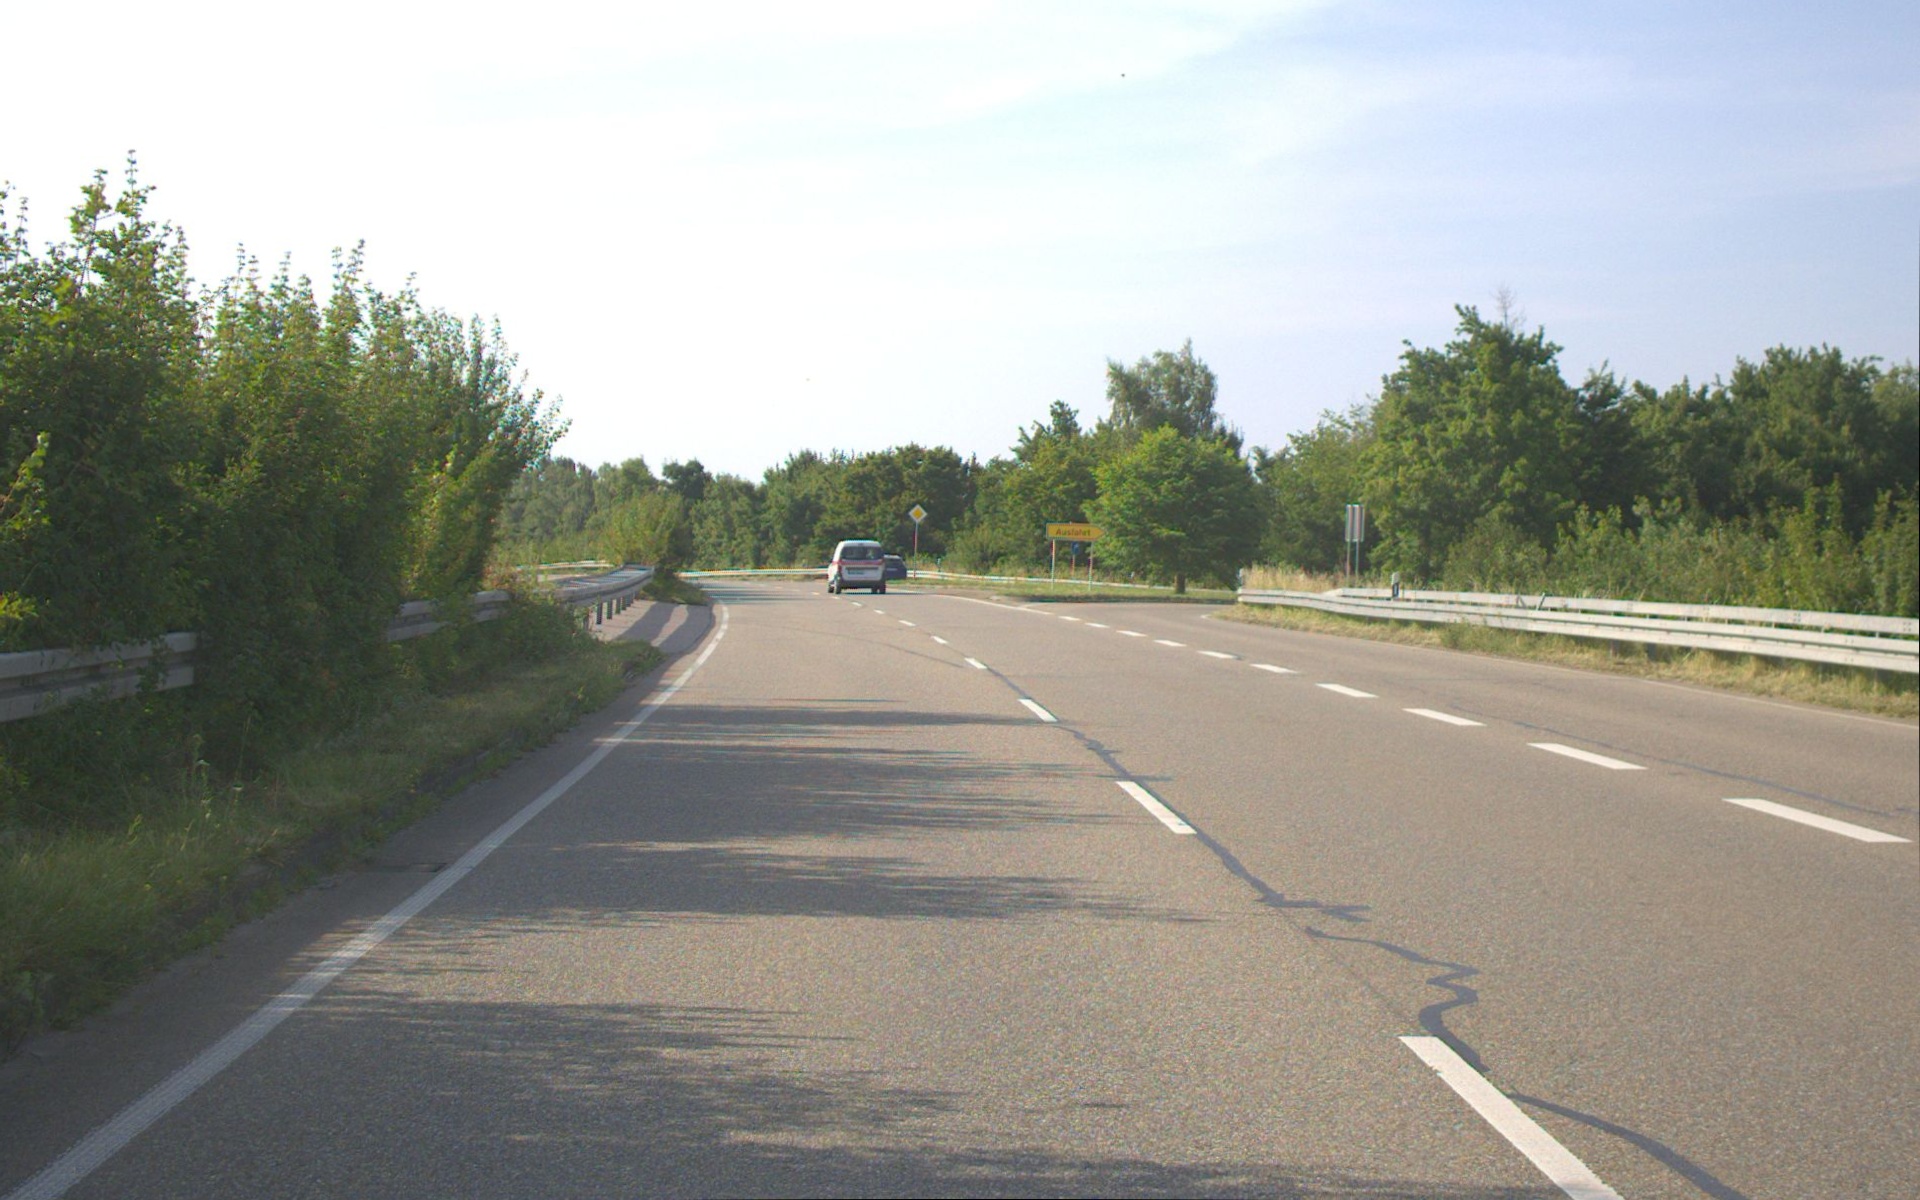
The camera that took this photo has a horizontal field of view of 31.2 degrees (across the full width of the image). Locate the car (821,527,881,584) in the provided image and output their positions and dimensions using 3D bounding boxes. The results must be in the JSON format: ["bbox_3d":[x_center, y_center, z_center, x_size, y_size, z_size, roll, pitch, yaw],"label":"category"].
[{"bbox_3d":[-3.716,-1.488,116.573,1.765,1.875,4.001,0,0,-5],"label":"car"}]

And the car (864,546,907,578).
[{"bbox_3d":[-3.547,-1.801,162.816,1.778,1.447,4.000,0,0,-5],"label":"car"}]
